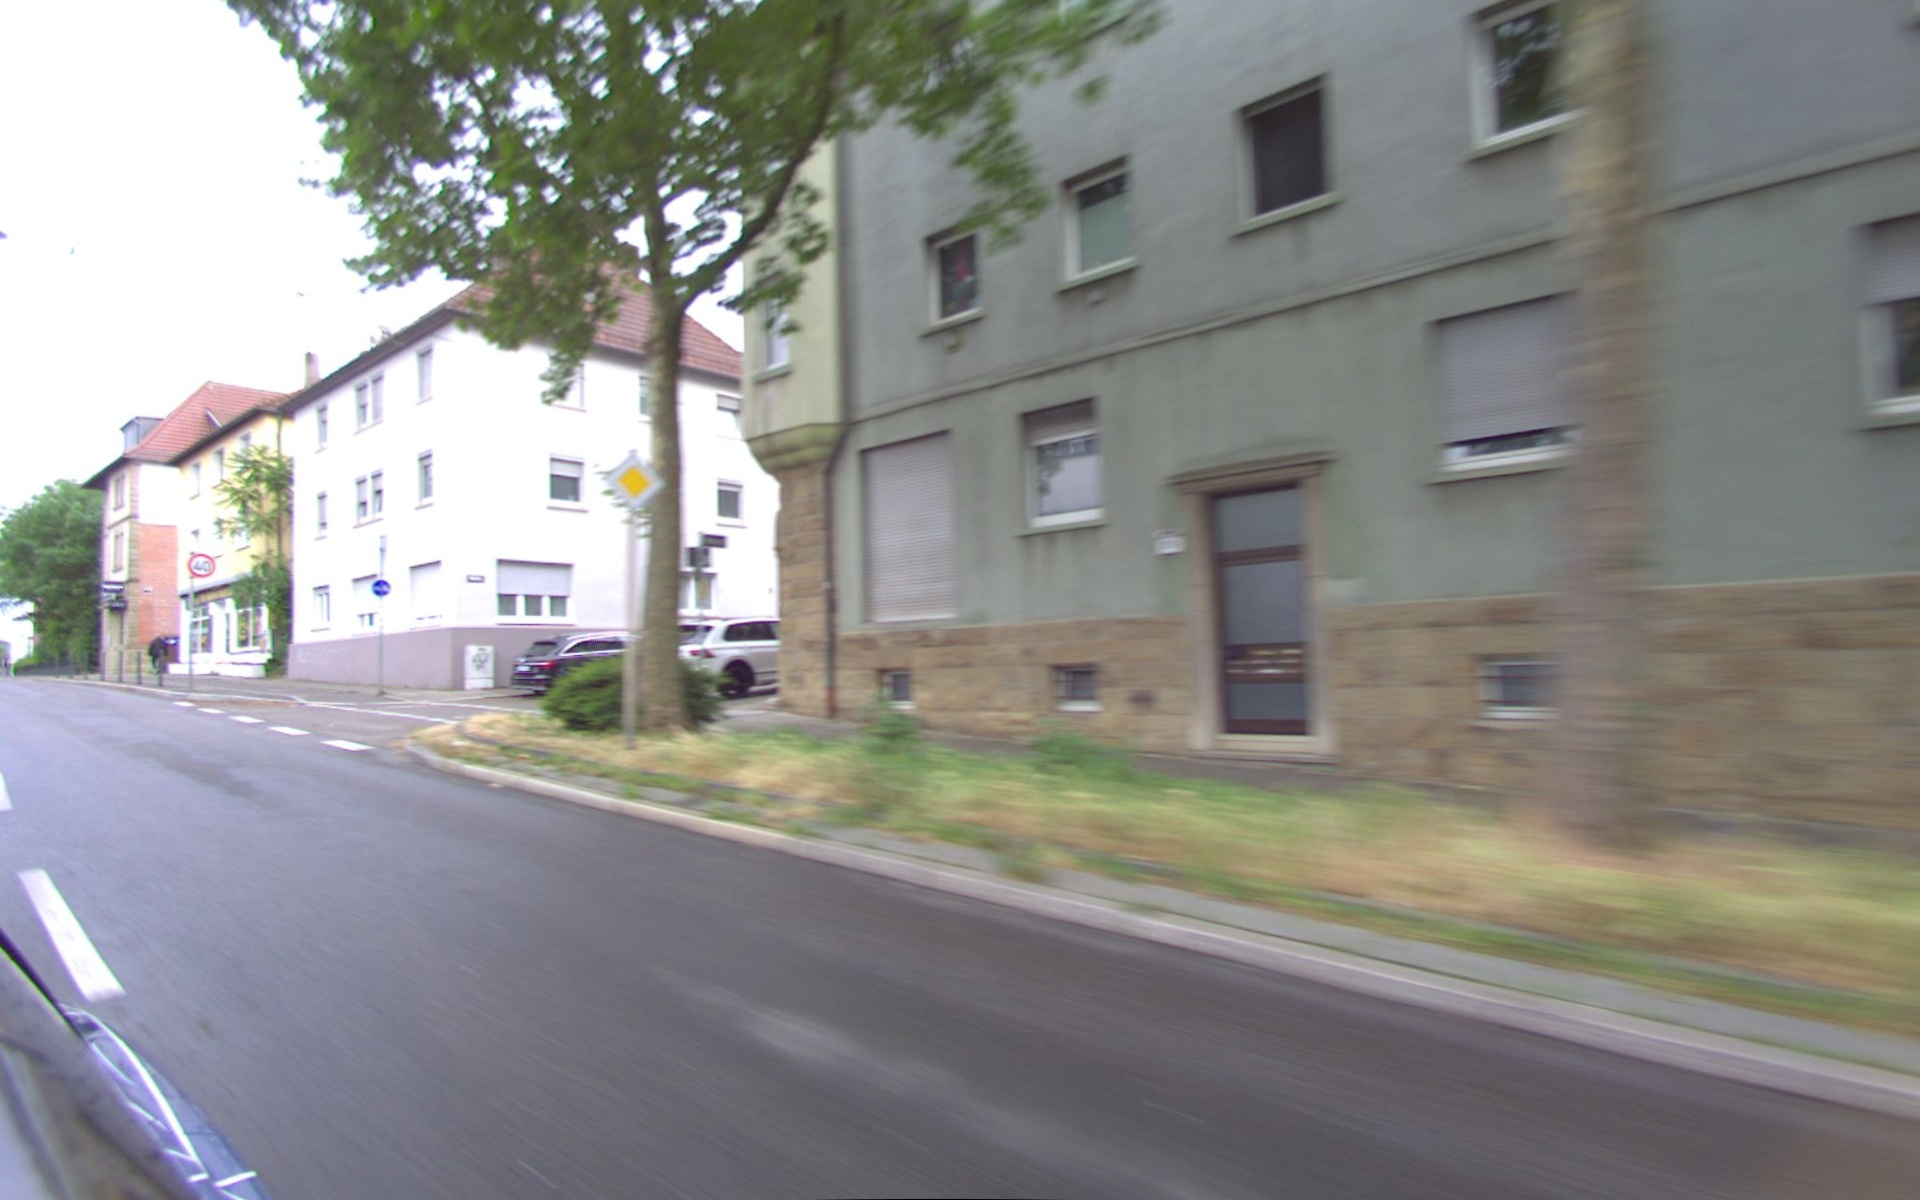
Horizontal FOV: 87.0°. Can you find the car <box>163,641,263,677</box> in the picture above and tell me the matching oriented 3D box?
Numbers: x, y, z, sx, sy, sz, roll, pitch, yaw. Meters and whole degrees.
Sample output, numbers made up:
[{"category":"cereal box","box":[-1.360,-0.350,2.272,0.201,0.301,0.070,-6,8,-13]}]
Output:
[{"category":"car","box":[-36.145,2.856,49.033,1.945,1.497,3.529,-4,-2,39]}]

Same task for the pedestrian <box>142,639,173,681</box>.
[{"category":"pedestrian","box":[-32.814,2.435,41.379,0.992,1.692,0.807,-2,-2,39]}]

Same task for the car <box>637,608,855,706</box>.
[{"category":"car","box":[-4.466,1.142,21.572,1.999,1.717,4.139,-3,0,41]}]

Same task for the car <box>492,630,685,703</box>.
[{"category":"car","box":[-9.006,1.580,24.763,1.999,1.408,3.947,-3,0,40]}]

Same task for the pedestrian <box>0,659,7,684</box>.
[{"category":"pedestrian","box":[-71.791,5.335,75.609,1.115,1.835,0.797,-6,-5,41]}]

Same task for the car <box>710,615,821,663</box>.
[{"category":"car","box":[-6.877,1.372,35.589,3.999,1.532,1.779,-3,-1,42]}]
